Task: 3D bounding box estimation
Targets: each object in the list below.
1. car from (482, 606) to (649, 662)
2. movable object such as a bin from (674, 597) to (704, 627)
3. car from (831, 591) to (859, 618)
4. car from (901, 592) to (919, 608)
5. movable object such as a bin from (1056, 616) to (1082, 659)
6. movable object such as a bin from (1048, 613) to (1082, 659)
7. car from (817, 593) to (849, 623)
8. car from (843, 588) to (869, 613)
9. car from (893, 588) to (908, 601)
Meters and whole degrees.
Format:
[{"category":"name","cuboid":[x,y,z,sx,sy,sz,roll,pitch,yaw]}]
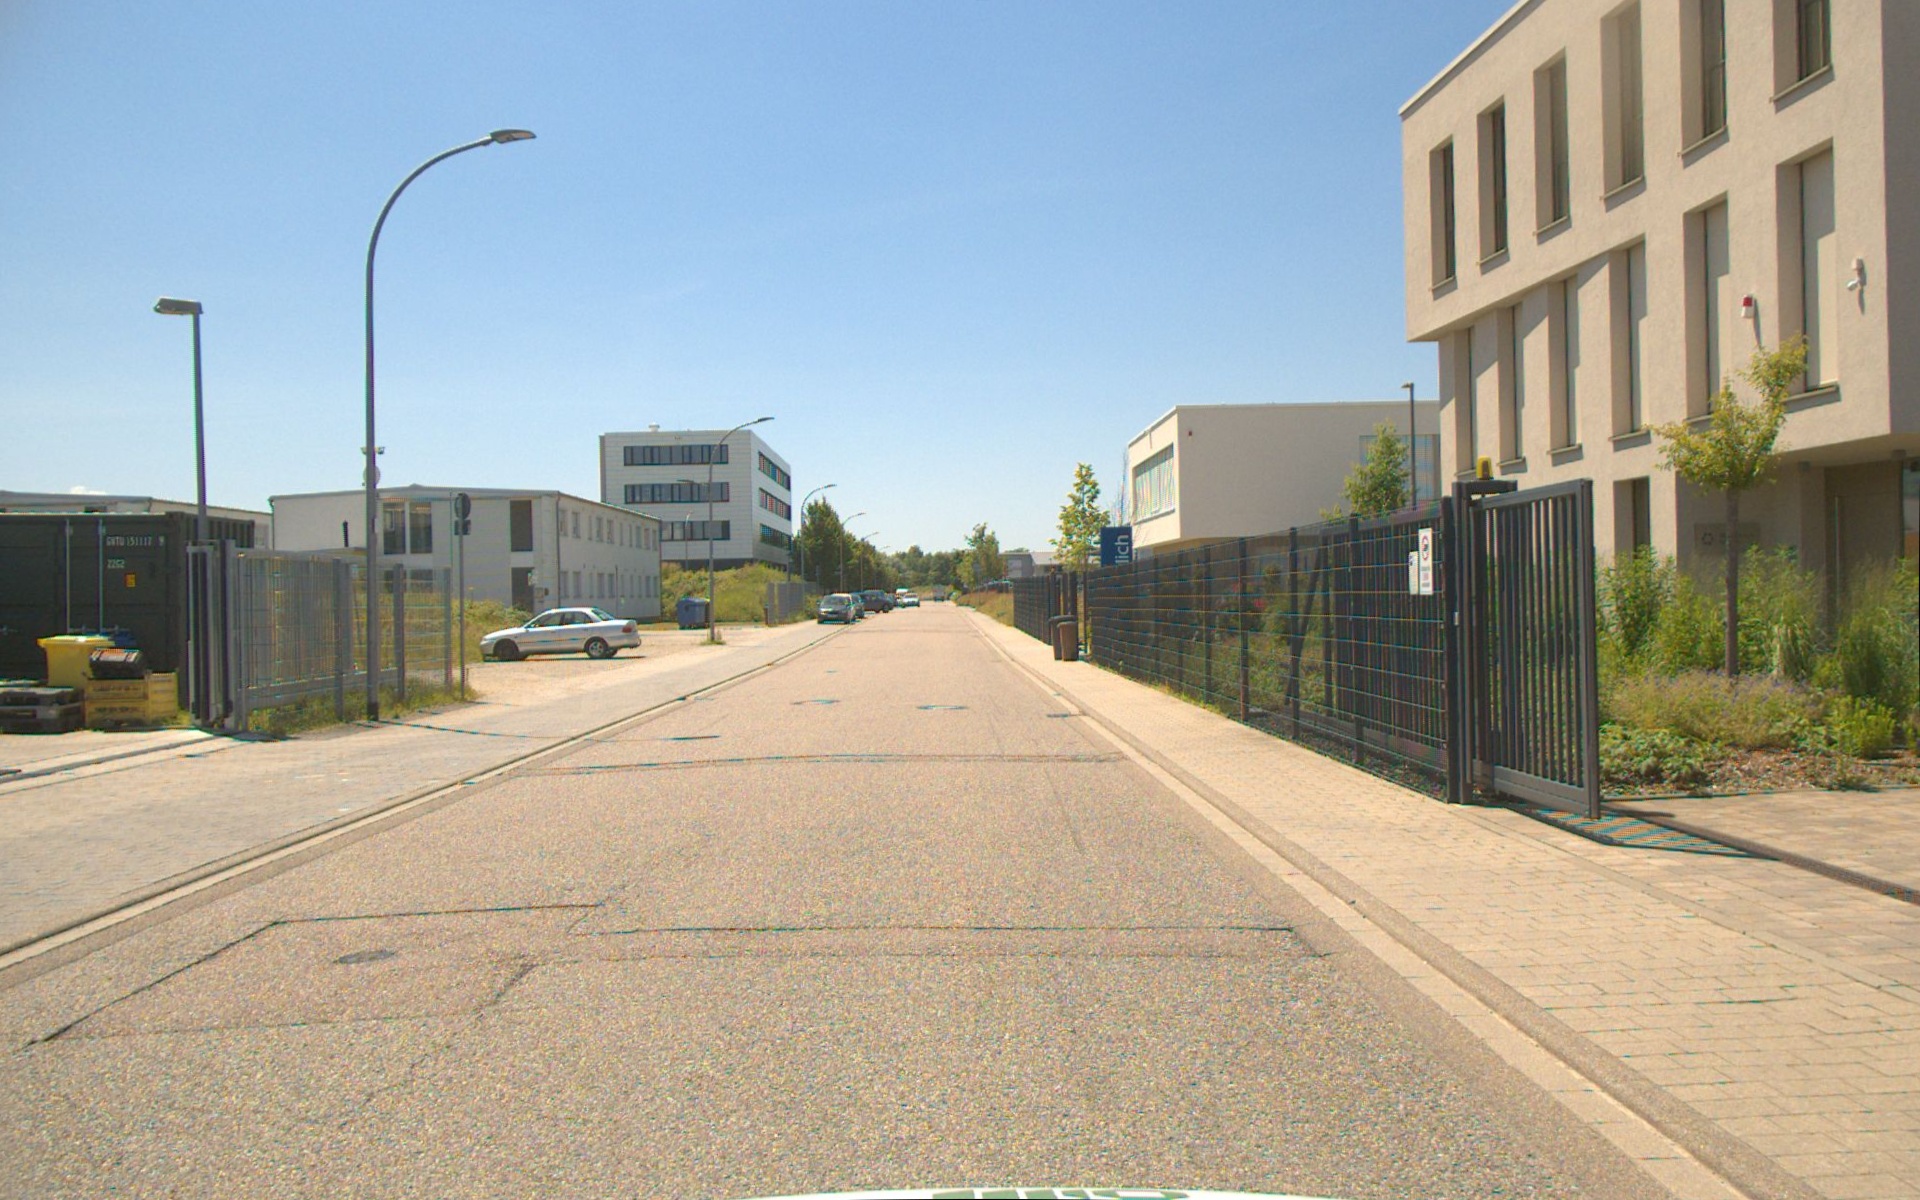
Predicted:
[{"category":"car","cuboid":[-11.019,0.932,46.415,4.191,1.388,1.897,-2,0,-1]},{"category":"movable object such as a bin","cuboid":[-13.314,0.593,81.344,1.260,1.436,1.805,-1,0,-5]},{"category":"car","cuboid":[-6.568,0.242,94.655,1.437,1.516,3.207,-1,0,-1]},{"category":"car","cuboid":[-5.191,-0.043,170.917,1.767,1.584,3.999,-2,0,-1]},{"category":"movable object such as a bin","cuboid":[2.638,0.905,40.087,0.541,0.944,0.522,-5,1,3]},{"category":"movable object such as a bin","cuboid":[2.598,0.882,40.976,0.763,1.037,0.665,-6,1,3]},{"category":"car","cuboid":[-6.713,0.418,87.735,1.437,1.516,3.207,-1,0,-1]},{"category":"car","cuboid":[-6.528,0.005,103.877,1.437,1.516,3.207,-1,0,-1]},{"category":"car","cuboid":[-7.586,-0.639,209.691,1.767,1.584,3.999,-2,0,-1]}]
